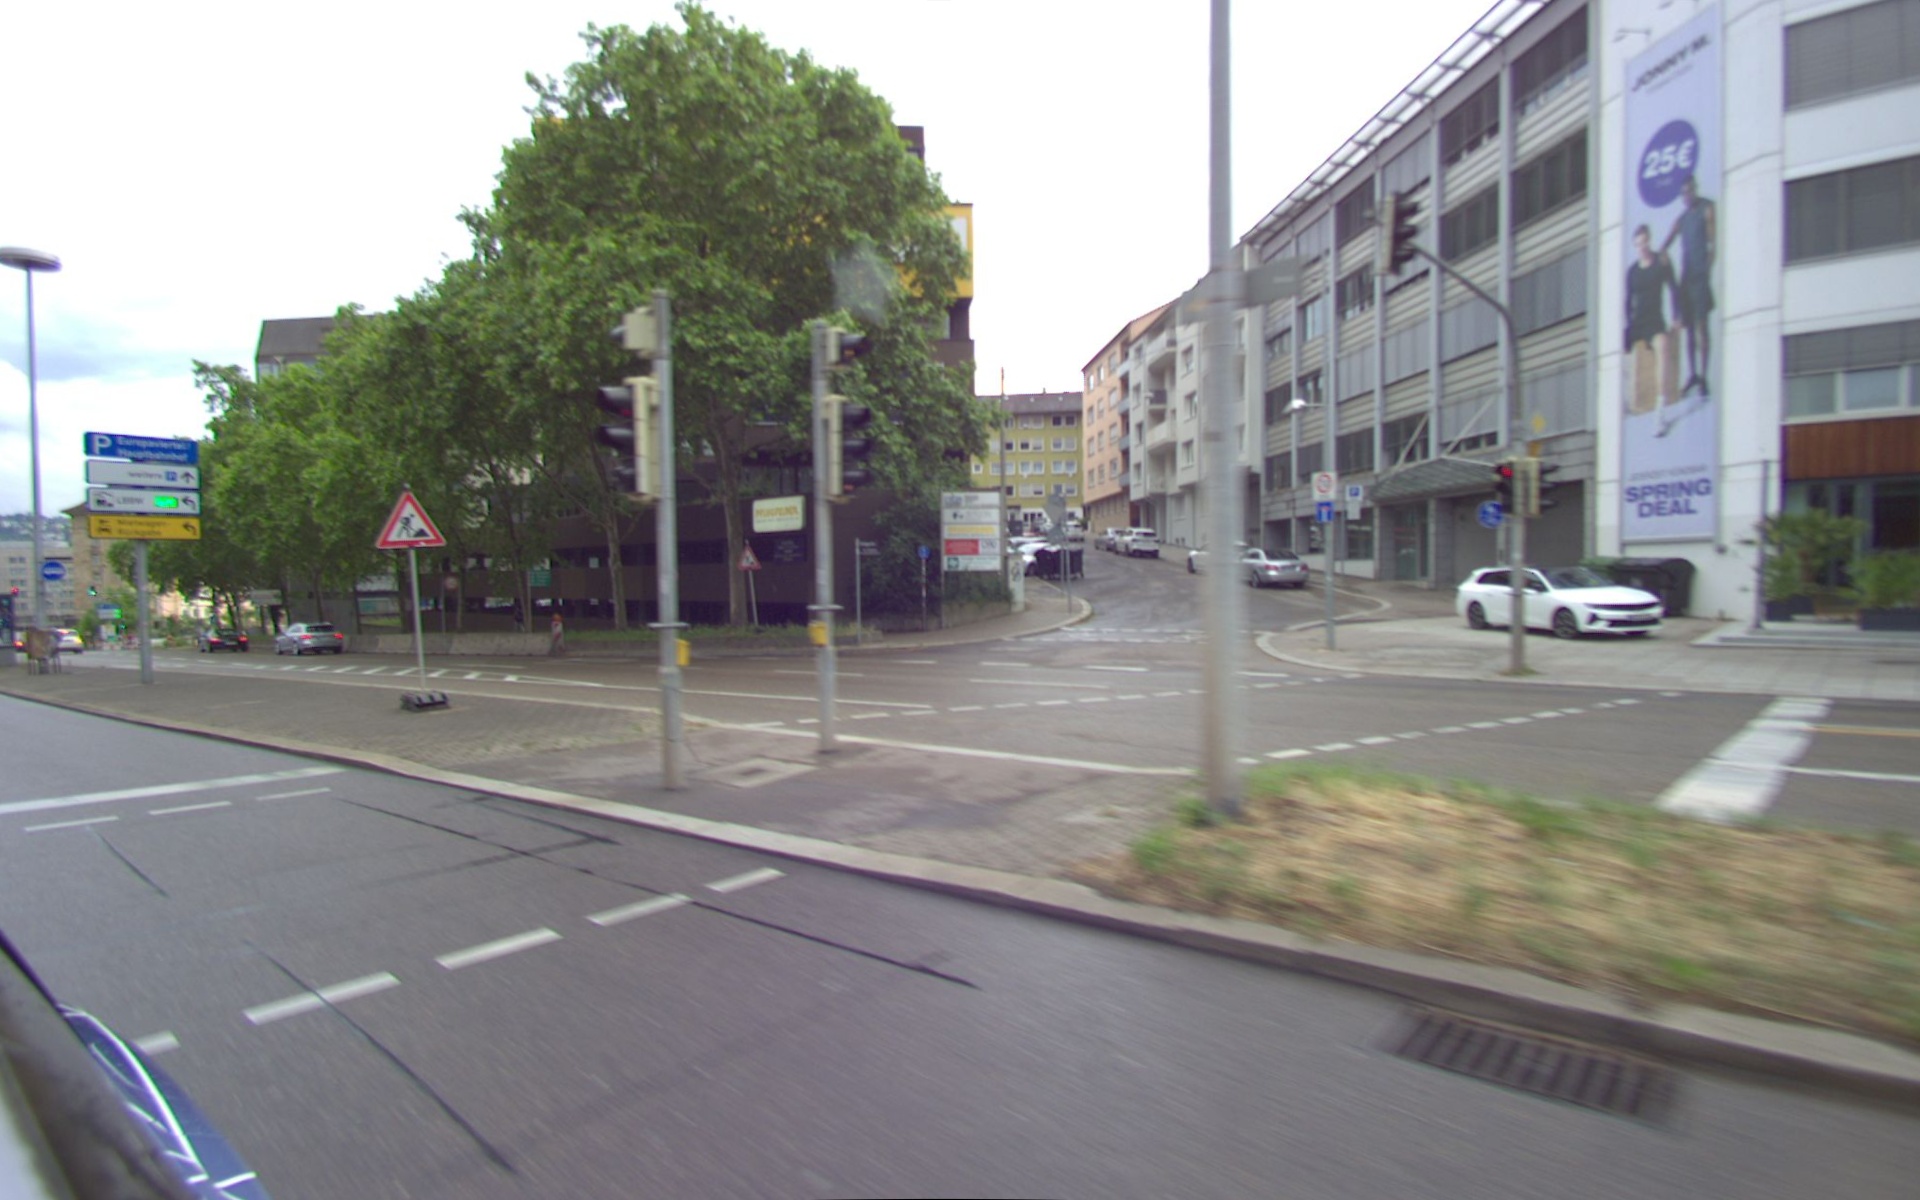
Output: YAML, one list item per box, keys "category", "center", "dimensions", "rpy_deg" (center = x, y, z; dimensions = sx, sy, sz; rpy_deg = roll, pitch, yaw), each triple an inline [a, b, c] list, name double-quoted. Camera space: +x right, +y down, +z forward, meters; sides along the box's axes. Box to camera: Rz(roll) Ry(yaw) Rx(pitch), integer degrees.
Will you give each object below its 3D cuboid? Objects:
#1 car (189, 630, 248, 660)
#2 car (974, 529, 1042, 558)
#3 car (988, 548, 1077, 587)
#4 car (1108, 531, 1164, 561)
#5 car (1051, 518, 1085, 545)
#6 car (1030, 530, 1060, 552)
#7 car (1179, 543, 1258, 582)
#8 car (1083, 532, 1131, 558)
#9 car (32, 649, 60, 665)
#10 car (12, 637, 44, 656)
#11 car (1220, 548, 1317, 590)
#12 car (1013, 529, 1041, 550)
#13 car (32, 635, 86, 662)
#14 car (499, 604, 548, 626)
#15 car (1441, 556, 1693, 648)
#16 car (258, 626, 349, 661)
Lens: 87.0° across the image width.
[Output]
- category: "car"
  center: [-40.842, 2.452, 55.709]
  dimensions: [4.167, 1.530, 1.736]
  rpy_deg: [-2, -1, 40]
- category: "car"
  center: [2.894, -3.463, 61.652]
  dimensions: [3.940, 1.696, 1.823]
  rpy_deg: [-1, 4, -4]
- category: "car"
  center: [3.395, -1.518, 48.014]
  dimensions: [3.940, 1.696, 1.822]
  rpy_deg: [-2, 1, -4]
- category: "car"
  center: [10.260, -3.142, 59.323]
  dimensions: [1.969, 1.586, 4.494]
  rpy_deg: [-3, 3, -6]
- category: "car"
  center: [8.516, -5.416, 79.959]
  dimensions: [1.970, 2.028, 4.005]
  rpy_deg: [-1, 4, -4]
- category: "car"
  center: [7.556, -5.274, 90.235]
  dimensions: [1.970, 1.829, 4.005]
  rpy_deg: [-1, 4, -4]
- category: "car"
  center: [11.523, -1.696, 45.459]
  dimensions: [1.969, 1.586, 4.494]
  rpy_deg: [-3, 3, -6]
- category: "car"
  center: [9.453, -3.526, 65.483]
  dimensions: [1.969, 1.586, 4.494]
  rpy_deg: [-3, 3, -6]
- category: "car"
  center: [-92.043, 5.716, 101.920]
  dimensions: [1.911, 1.447, 4.078]
  rpy_deg: [0, -2, -45]
- category: "car"
  center: [-80.100, 3.967, 86.970]
  dimensions: [3.864, 1.497, 1.774]
  rpy_deg: [-2, -1, 43]
- category: "car"
  center: [12.031, -1.239, 39.786]
  dimensions: [1.969, 1.476, 4.494]
  rpy_deg: [-3, 3, -6]
- category: "car"
  center: [6.249, -5.662, 94.733]
  dimensions: [1.970, 1.829, 4.005]
  rpy_deg: [-1, 4, -4]
- category: "car"
  center: [-54.973, 2.942, 61.740]
  dimensions: [3.733, 1.530, 1.738]
  rpy_deg: [-2, -1, 36]
- category: "car"
  center: [-38.936, 1.337, 90.326]
  dimensions: [3.931, 1.730, 2.006]
  rpy_deg: [-2, -1, -22]
- category: "car"
  center: [12.770, -0.064, 21.762]
  dimensions: [1.968, 1.666, 4.853]
  rpy_deg: [-3, 3, -8]
- category: "car"
  center: [-29.694, 1.934, 45.701]
  dimensions: [4.874, 1.458, 1.975]
  rpy_deg: [-2, -1, 38]
